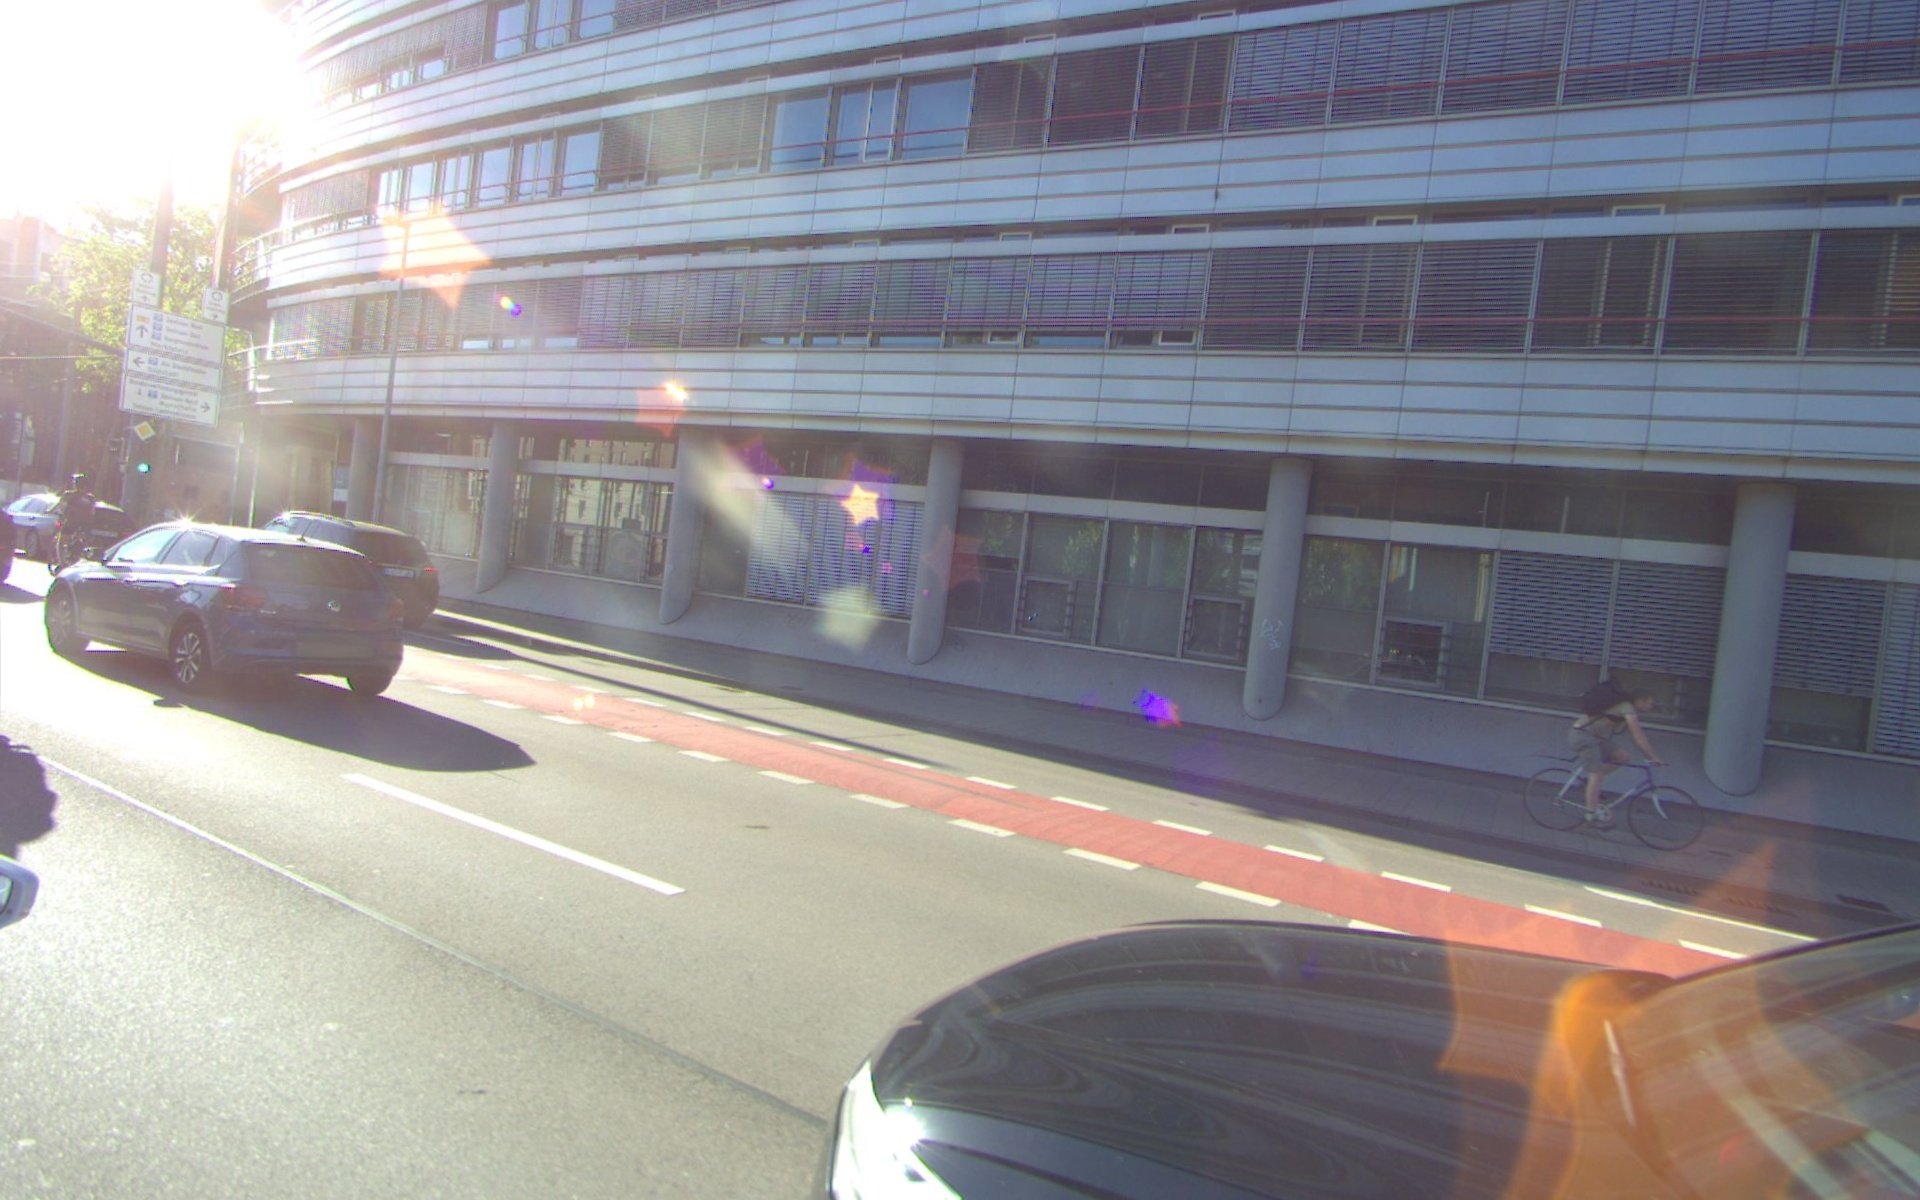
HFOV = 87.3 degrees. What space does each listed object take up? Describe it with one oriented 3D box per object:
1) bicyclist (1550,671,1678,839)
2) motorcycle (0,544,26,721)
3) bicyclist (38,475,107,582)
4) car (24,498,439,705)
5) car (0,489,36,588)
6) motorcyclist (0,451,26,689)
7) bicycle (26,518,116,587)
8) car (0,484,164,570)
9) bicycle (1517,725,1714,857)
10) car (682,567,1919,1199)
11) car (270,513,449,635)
[{"bbox_3d":[7.180,1.668,11.095,0.974,1.638,0.684,7,1,31],"label":"bicyclist"},{"bbox_3d":[-7.196,0.104,6.804,1.937,1.129,0.776,7,1,33],"label":"motorcycle"},{"bbox_3d":[-15.927,-1.281,18.056,0.849,1.813,0.578,7,1,31],"label":"bicyclist"},{"bbox_3d":[-7.233,-0.012,9.923,3.933,1.474,1.811,7,-1,31],"label":"car"},{"bbox_3d":[-16.538,-1.200,15.818,3.933,1.474,1.811,7,-1,31],"label":"car"},{"bbox_3d":[-6.843,-0.263,6.594,1.004,1.549,0.745,7,1,34],"label":"motorcyclist"},{"bbox_3d":[-15.963,-0.862,18.047,2.289,1.010,0.492,7,1,31],"label":"bicycle"},{"bbox_3d":[-20.701,-1.728,23.656,3.937,1.436,1.996,8,-1,35],"label":"car"},{"bbox_3d":[7.116,2.048,11.019,1.673,1.072,0.504,6,3,31],"label":"bicycle"},{"bbox_3d":[1.901,1.026,1.122,4.423,1.509,1.814,7,-2,34],"label":"car"},{"bbox_3d":[-11.170,-0.531,18.561,1.986,1.771,4.278,7,0,-41],"label":"car"}]
